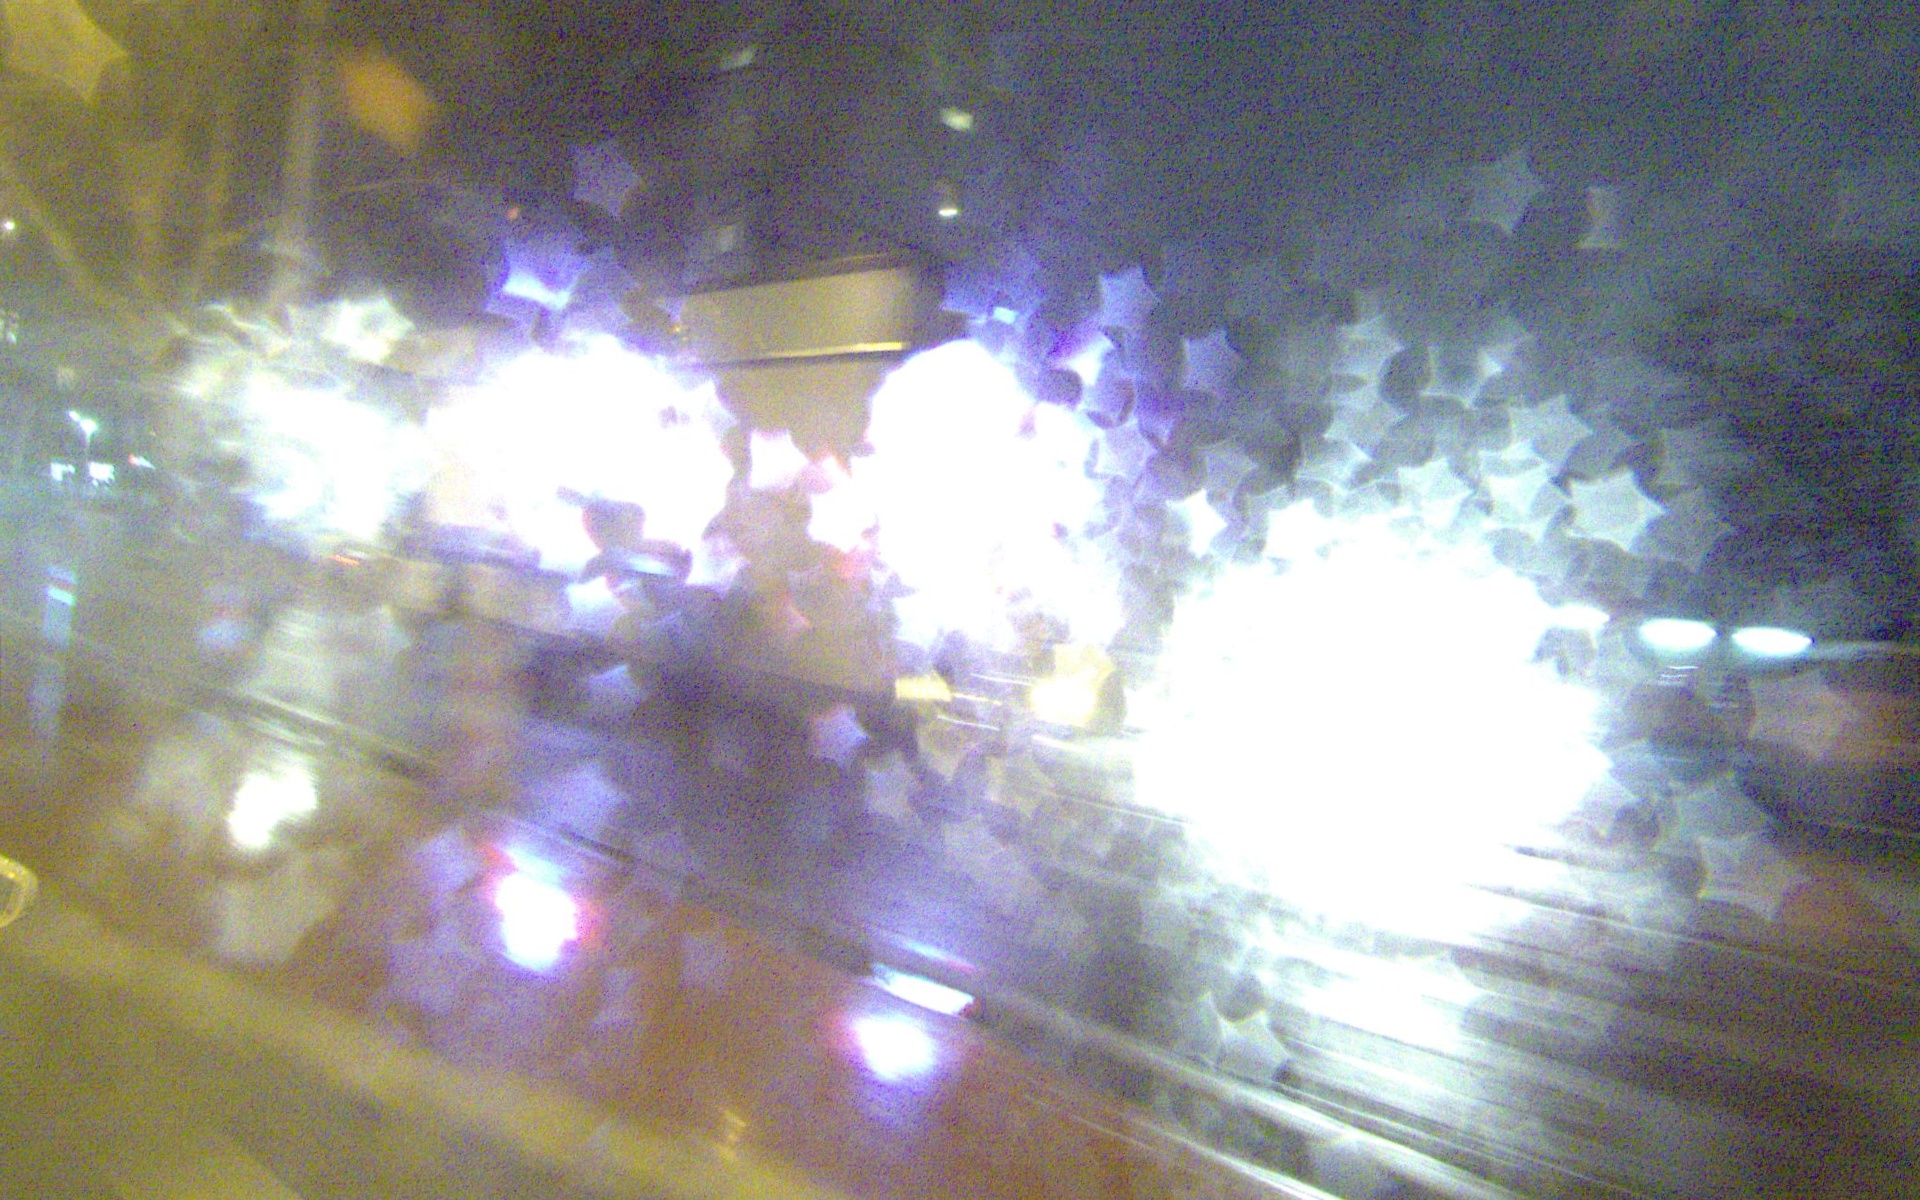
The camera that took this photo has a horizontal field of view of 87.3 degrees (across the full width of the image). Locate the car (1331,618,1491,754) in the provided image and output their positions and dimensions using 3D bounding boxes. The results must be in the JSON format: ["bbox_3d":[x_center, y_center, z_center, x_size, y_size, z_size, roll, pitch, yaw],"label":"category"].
[{"bbox_3d":[8.095,1.483,17.849,1.896,1.894,3.992,8,0,31],"label":"car"}]

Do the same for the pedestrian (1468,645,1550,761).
[{"bbox_3d":[9.240,1.716,16.910,0.861,1.759,1.083,8,1,37],"label":"pedestrian"}]

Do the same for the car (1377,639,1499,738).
[{"bbox_3d":[10.412,1.882,21.759,1.811,1.694,3.992,8,0,31],"label":"car"}]
